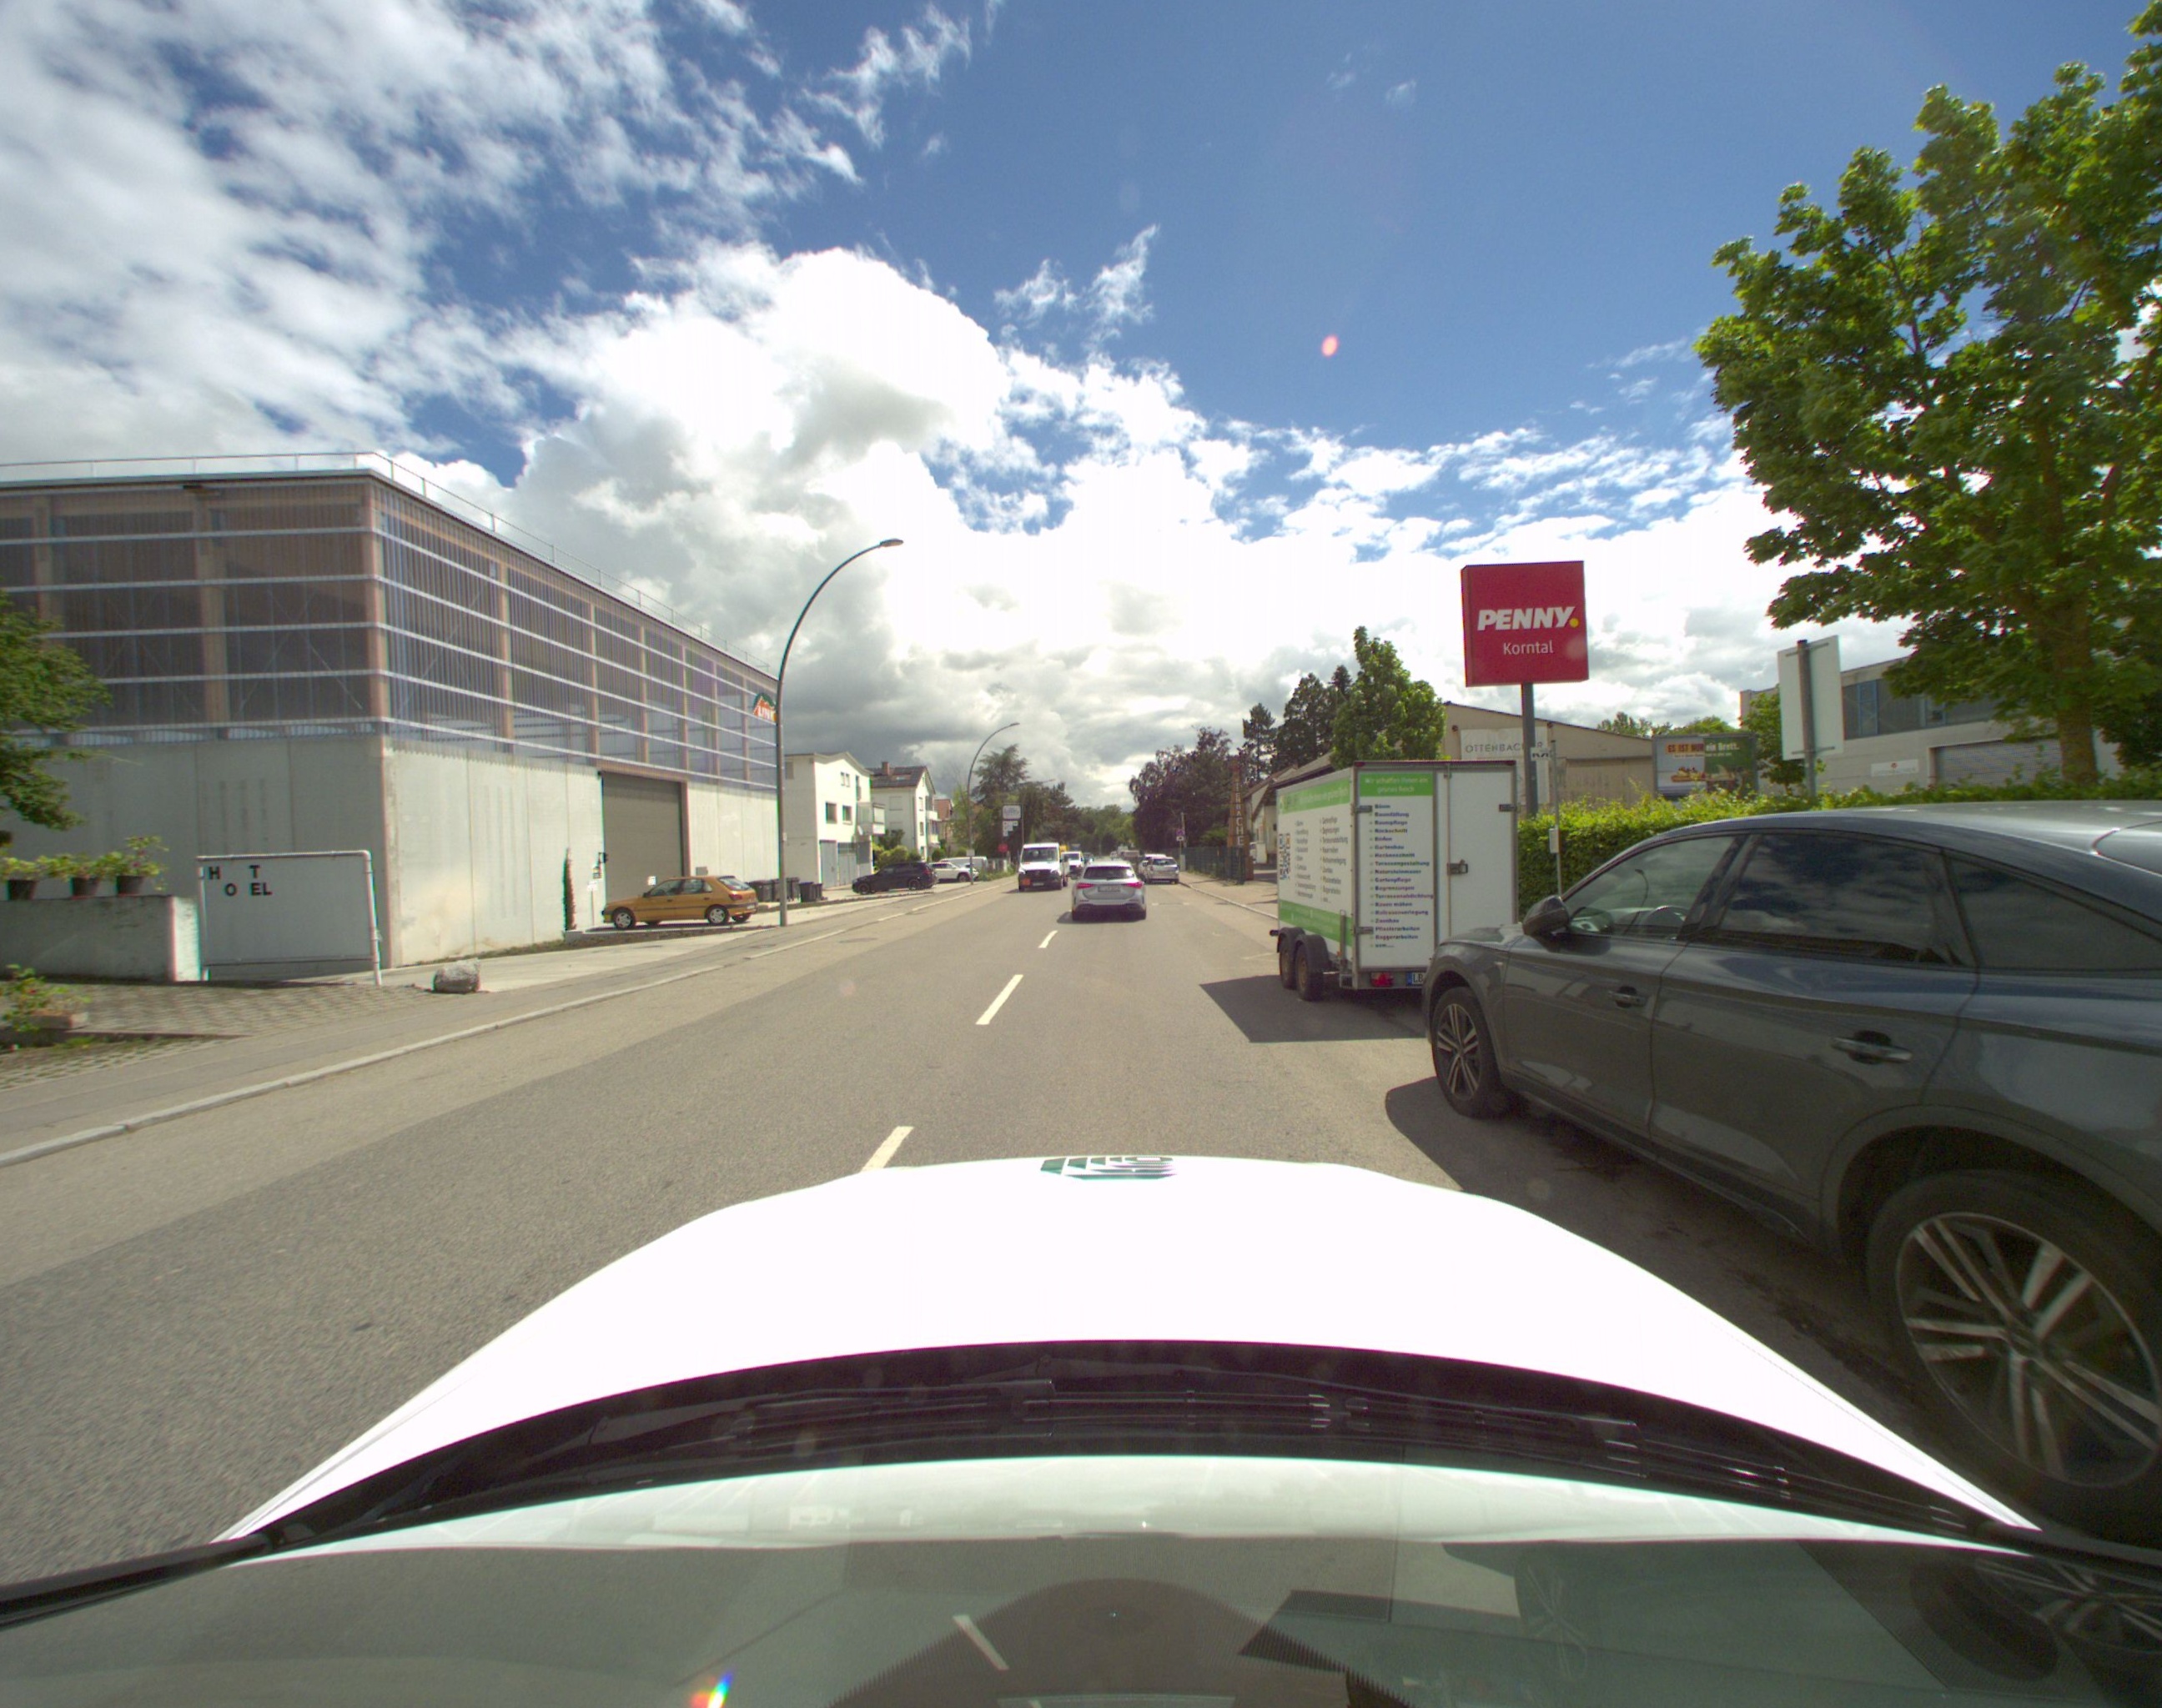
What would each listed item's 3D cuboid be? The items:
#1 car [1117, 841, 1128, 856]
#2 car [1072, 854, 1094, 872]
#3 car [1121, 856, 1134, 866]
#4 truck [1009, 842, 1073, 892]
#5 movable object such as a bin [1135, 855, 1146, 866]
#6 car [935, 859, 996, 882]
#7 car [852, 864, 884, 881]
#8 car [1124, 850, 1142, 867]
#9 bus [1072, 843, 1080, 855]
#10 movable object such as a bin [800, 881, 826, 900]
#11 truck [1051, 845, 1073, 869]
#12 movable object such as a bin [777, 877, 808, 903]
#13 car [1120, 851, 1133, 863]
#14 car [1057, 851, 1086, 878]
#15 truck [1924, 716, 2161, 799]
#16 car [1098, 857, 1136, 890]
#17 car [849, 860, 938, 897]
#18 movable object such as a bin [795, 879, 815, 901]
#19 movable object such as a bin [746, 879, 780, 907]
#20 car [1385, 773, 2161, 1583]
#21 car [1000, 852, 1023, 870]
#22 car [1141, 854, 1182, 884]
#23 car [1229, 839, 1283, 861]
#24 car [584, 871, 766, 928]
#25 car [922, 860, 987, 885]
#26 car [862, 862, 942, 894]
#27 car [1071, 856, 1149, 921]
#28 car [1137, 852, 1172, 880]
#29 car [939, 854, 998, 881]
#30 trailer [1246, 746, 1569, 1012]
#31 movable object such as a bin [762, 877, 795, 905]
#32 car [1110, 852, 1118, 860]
[{"bbox_3d":[7.193,-1.013,141.489,1.779,2.518,4.315,-1,-1,0],"label":"car"},{"bbox_3d":[0.208,0.963,85.918,1.985,1.733,4.552,-3,0,3],"label":"car"},{"bbox_3d":[7.078,1.131,124.151,1.779,1.484,4.315,-1,-1,0],"label":"car"},{"bbox_3d":[-1.849,0.562,40.355,2.309,2.178,6.455,-3,0,4],"label":"truck"},{"bbox_3d":[6.466,0.698,88.798,1.080,1.271,1.380,0,0,2],"label":"movable object such as a bin"},{"bbox_3d":[-8.679,1.258,61.424,4.265,1.567,1.991,-2,-3,0],"label":"car"},{"bbox_3d":[-21.376,1.833,81.882,1.987,1.544,4.376,-3,0,0],"label":"car"},{"bbox_3d":[6.579,0.569,104.111,2.136,1.984,5.264,-2,0,2],"label":"car"},{"bbox_3d":[-1.399,-1.438,229.022,1.989,3.364,6.974,0,0,-3],"label":"bus"},{"bbox_3d":[-14.262,1.930,43.358,0.740,0.919,1.520,-3,0,3],"label":"movable object such as a bin"},{"bbox_3d":[-2.392,0.335,102.707,2.066,2.814,7.083,-3,0,3],"label":"truck"},{"bbox_3d":[-16.302,2.004,46.084,0.953,1.356,1.820,-3,0,3],"label":"movable object such as a bin"},{"bbox_3d":[7.264,0.475,129.227,1.779,1.715,4.315,-1,-1,0],"label":"car"},{"bbox_3d":[-0.714,0.795,63.058,1.986,1.888,5.118,-2,0,1],"label":"car"},{"bbox_3d":[40.420,-3.681,31.673,11.932,2.865,2.981,0,0,2],"label":"truck"},{"bbox_3d":[1.832,0.976,42.105,1.750,1.558,4.000,-2,0,0],"label":"car"},{"bbox_3d":[-10.903,1.412,47.670,4.615,1.632,2.196,-5,0,-2],"label":"car"},{"bbox_3d":[-14.301,1.870,42.239,0.740,1.030,0.712,-3,0,3],"label":"movable object such as a bin"},{"bbox_3d":[-16.501,2.014,42.322,0.953,1.356,1.820,0,0,3],"label":"movable object such as a bin"},{"bbox_3d":[3.029,0.585,3.217,1.935,1.571,4.444,-3,0,0],"label":"car"},{"bbox_3d":[-7.018,0.720,82.475,1.988,1.657,3.997,-3,0,-2],"label":"car"},{"bbox_3d":[4.415,0.788,45.239,1.786,1.450,4.362,-3,0,-1],"label":"car"},{"bbox_3d":[17.614,-0.410,81.991,4.994,1.929,2.003,-4,0,4],"label":"car"},{"bbox_3d":[-11.263,1.242,22.823,4.139,1.492,1.824,0,0,-2],"label":"car"},{"bbox_3d":[-9.082,1.314,58.554,4.263,1.567,1.992,-2,-3,2],"label":"car"},{"bbox_3d":[-10.991,1.468,50.215,4.450,1.505,1.824,-5,0,-2],"label":"car"},{"bbox_3d":[0.676,0.824,21.061,1.779,1.484,4.315,-1,-1,0],"label":"car"},{"bbox_3d":[4.549,0.693,50.920,1.785,1.552,4.574,-3,0,1],"label":"car"},{"bbox_3d":[-8.782,1.087,63.848,4.265,1.836,1.991,-2,-3,0],"label":"car"},{"bbox_3d":[3.370,0.227,9.499,1.935,2.294,4.445,-2,0,0],"label":"trailer"},{"bbox_3d":[-16.387,2.002,44.205,0.953,1.356,1.820,-3,0,3],"label":"movable object such as a bin"},{"bbox_3d":[7.034,0.390,173.549,1.749,1.558,4.001,-2,0,1],"label":"car"}]
